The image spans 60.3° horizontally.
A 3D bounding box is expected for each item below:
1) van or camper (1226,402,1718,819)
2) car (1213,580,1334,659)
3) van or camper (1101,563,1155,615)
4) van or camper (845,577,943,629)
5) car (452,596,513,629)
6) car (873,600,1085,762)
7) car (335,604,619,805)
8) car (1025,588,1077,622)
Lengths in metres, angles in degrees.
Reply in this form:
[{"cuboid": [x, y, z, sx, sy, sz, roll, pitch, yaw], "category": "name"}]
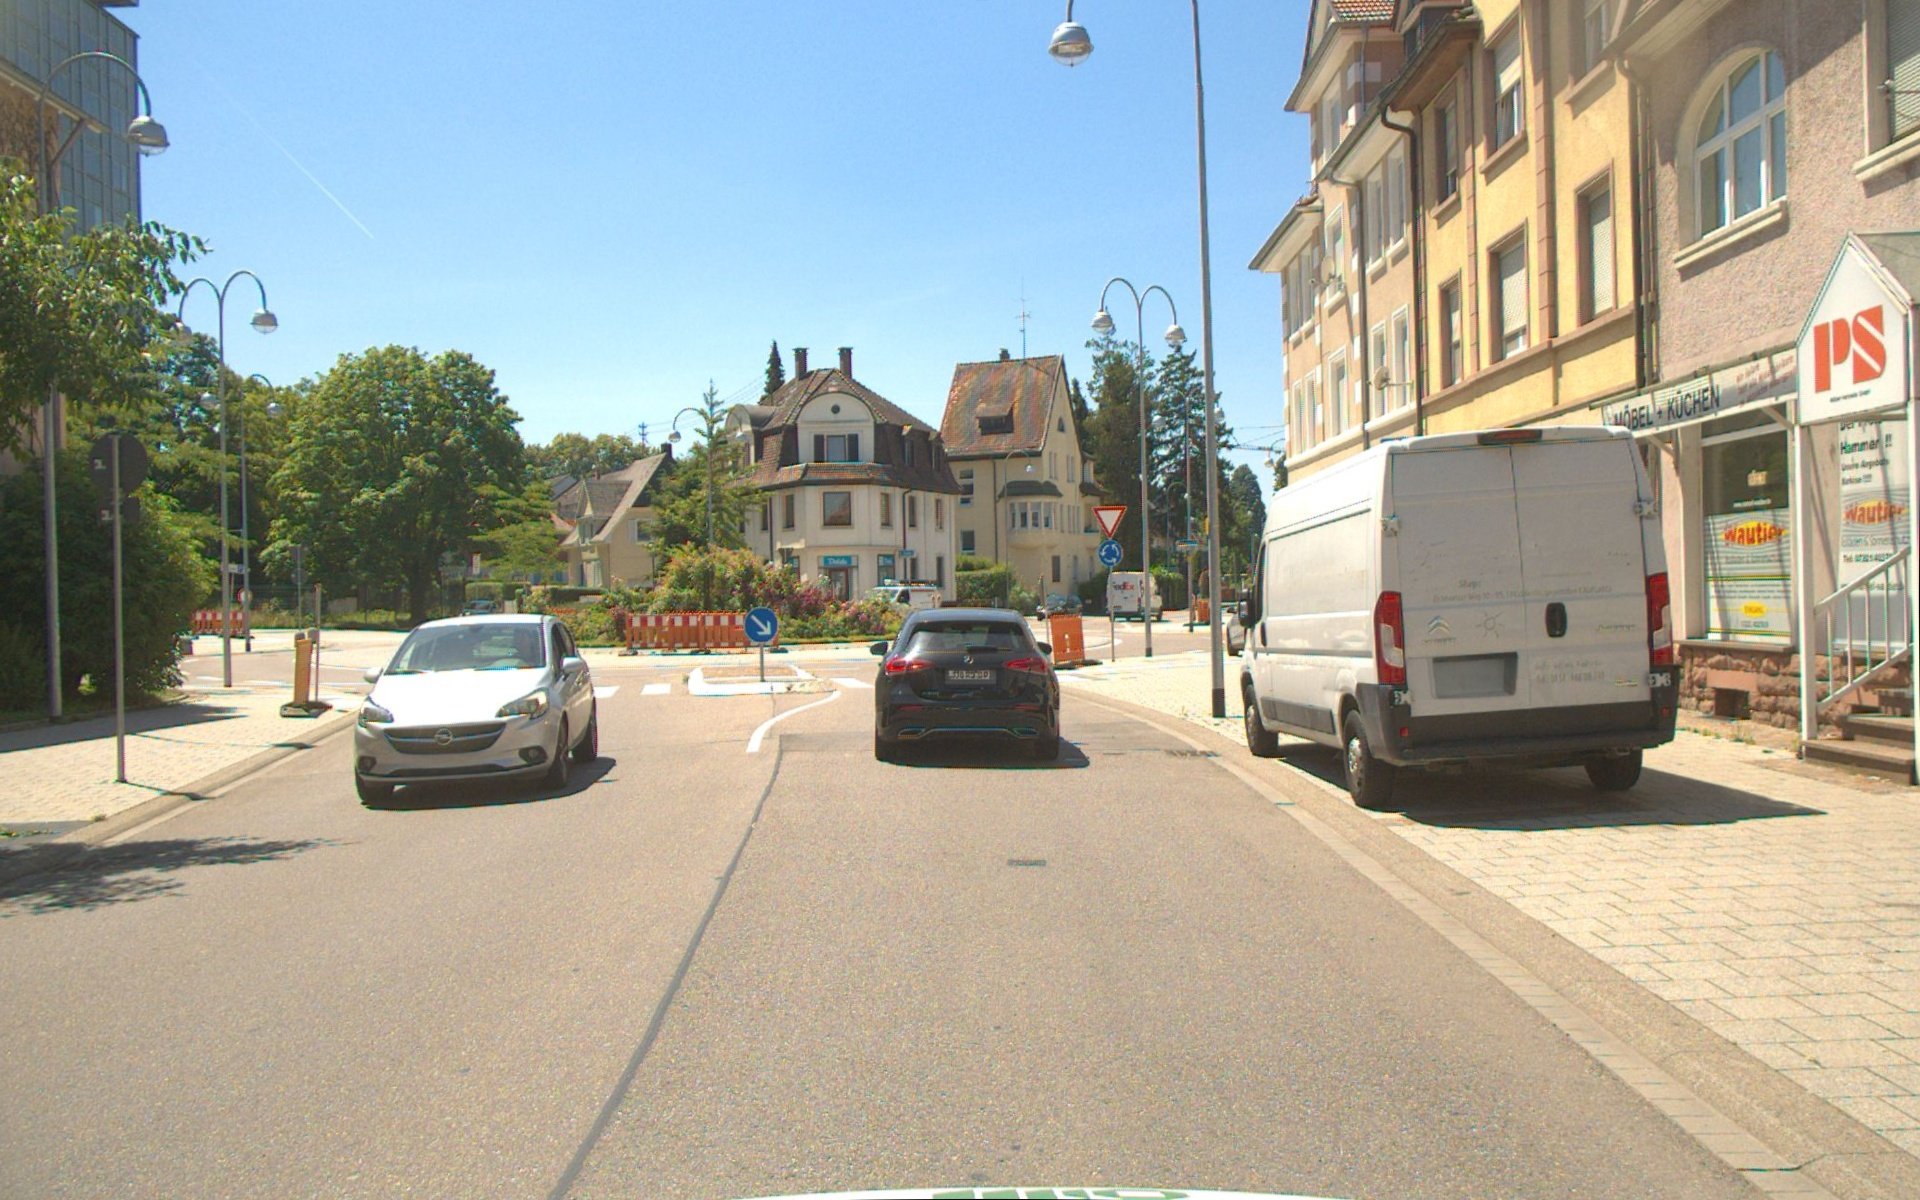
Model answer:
[{"cuboid": [3.808, 0.068, 13.685, 2.121, 2.634, 5.765, -2, 0, -1], "category": "van or camper"}, {"cuboid": [6.834, 0.394, 36.498, 1.728, 1.556, 4.690, -2, 0, 0], "category": "car"}, {"cuboid": [9.023, -0.582, 88.515, 2.159, 2.656, 4.003, -1, 0, 16], "category": "van or camper"}, {"cuboid": [-2.867, 0.151, 73.151, 1.955, 2.210, 5.407, 0, -1, 27], "category": "van or camper"}, {"cuboid": [-26.121, 0.715, 90.601, 1.747, 1.625, 3.923, -1, -3, 8], "category": "car"}, {"cuboid": [0.116, 0.756, 16.931, 1.914, 1.452, 3.998, 0, -1, -2], "category": "car"}, {"cuboid": [-4.182, 0.822, 14.885, 1.627, 1.523, 3.756, -2, 0, -4], "category": "car"}, {"cuboid": [4.992, 0.253, 90.424, 1.880, 1.803, 4.002, 1, 0, 17], "category": "car"}]
